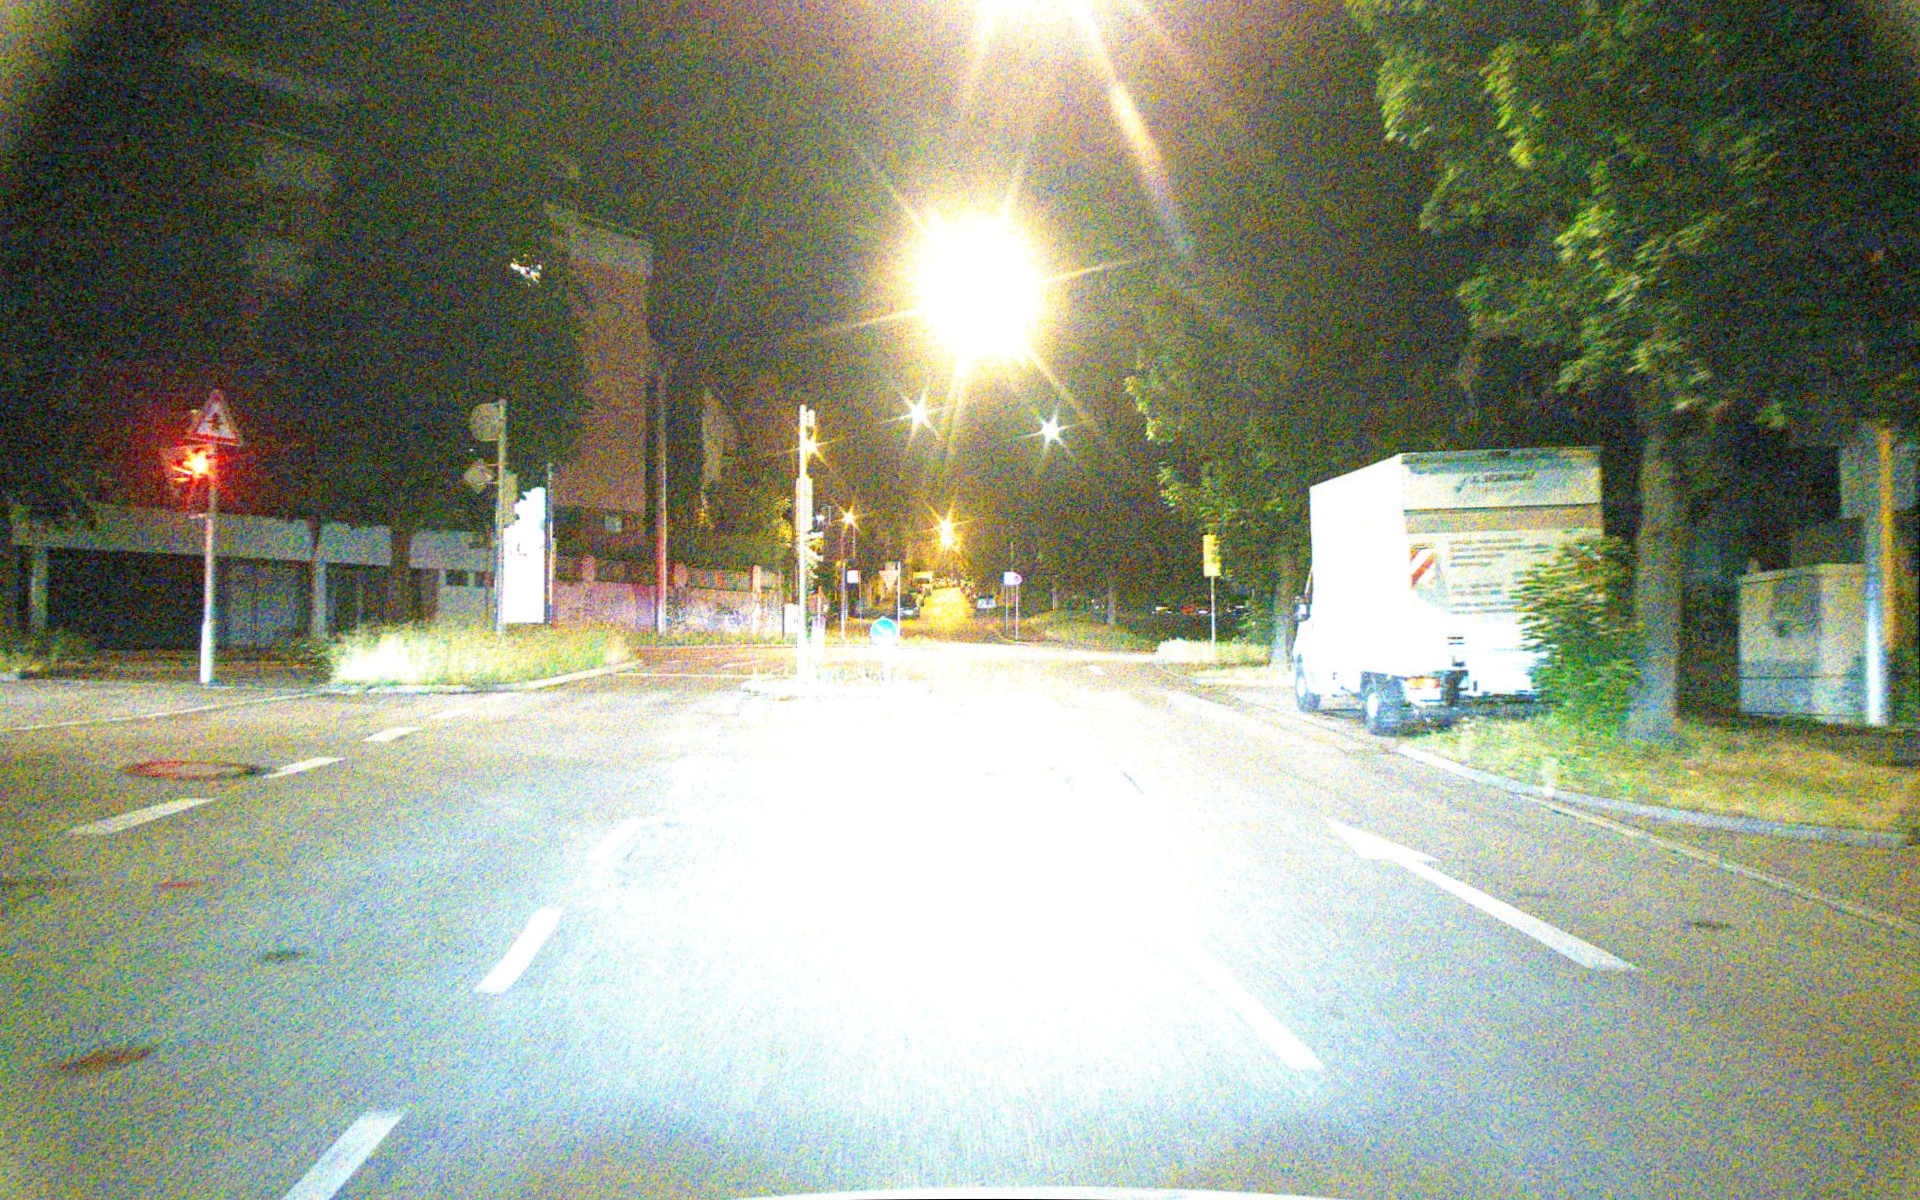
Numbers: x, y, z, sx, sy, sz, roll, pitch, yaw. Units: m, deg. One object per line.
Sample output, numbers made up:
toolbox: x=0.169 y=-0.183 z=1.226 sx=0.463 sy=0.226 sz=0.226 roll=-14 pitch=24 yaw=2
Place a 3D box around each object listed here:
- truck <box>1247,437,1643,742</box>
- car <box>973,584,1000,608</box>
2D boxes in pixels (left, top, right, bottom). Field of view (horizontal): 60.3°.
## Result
truck: x=5.651 y=-0.108 z=20.698 sx=2.708 sy=3.097 sz=7.034 roll=-1 pitch=0 yaw=-1
car: x=2.049 y=-0.315 z=129.115 sx=1.953 sy=1.800 sz=3.999 roll=1 pitch=0 yaw=-1
